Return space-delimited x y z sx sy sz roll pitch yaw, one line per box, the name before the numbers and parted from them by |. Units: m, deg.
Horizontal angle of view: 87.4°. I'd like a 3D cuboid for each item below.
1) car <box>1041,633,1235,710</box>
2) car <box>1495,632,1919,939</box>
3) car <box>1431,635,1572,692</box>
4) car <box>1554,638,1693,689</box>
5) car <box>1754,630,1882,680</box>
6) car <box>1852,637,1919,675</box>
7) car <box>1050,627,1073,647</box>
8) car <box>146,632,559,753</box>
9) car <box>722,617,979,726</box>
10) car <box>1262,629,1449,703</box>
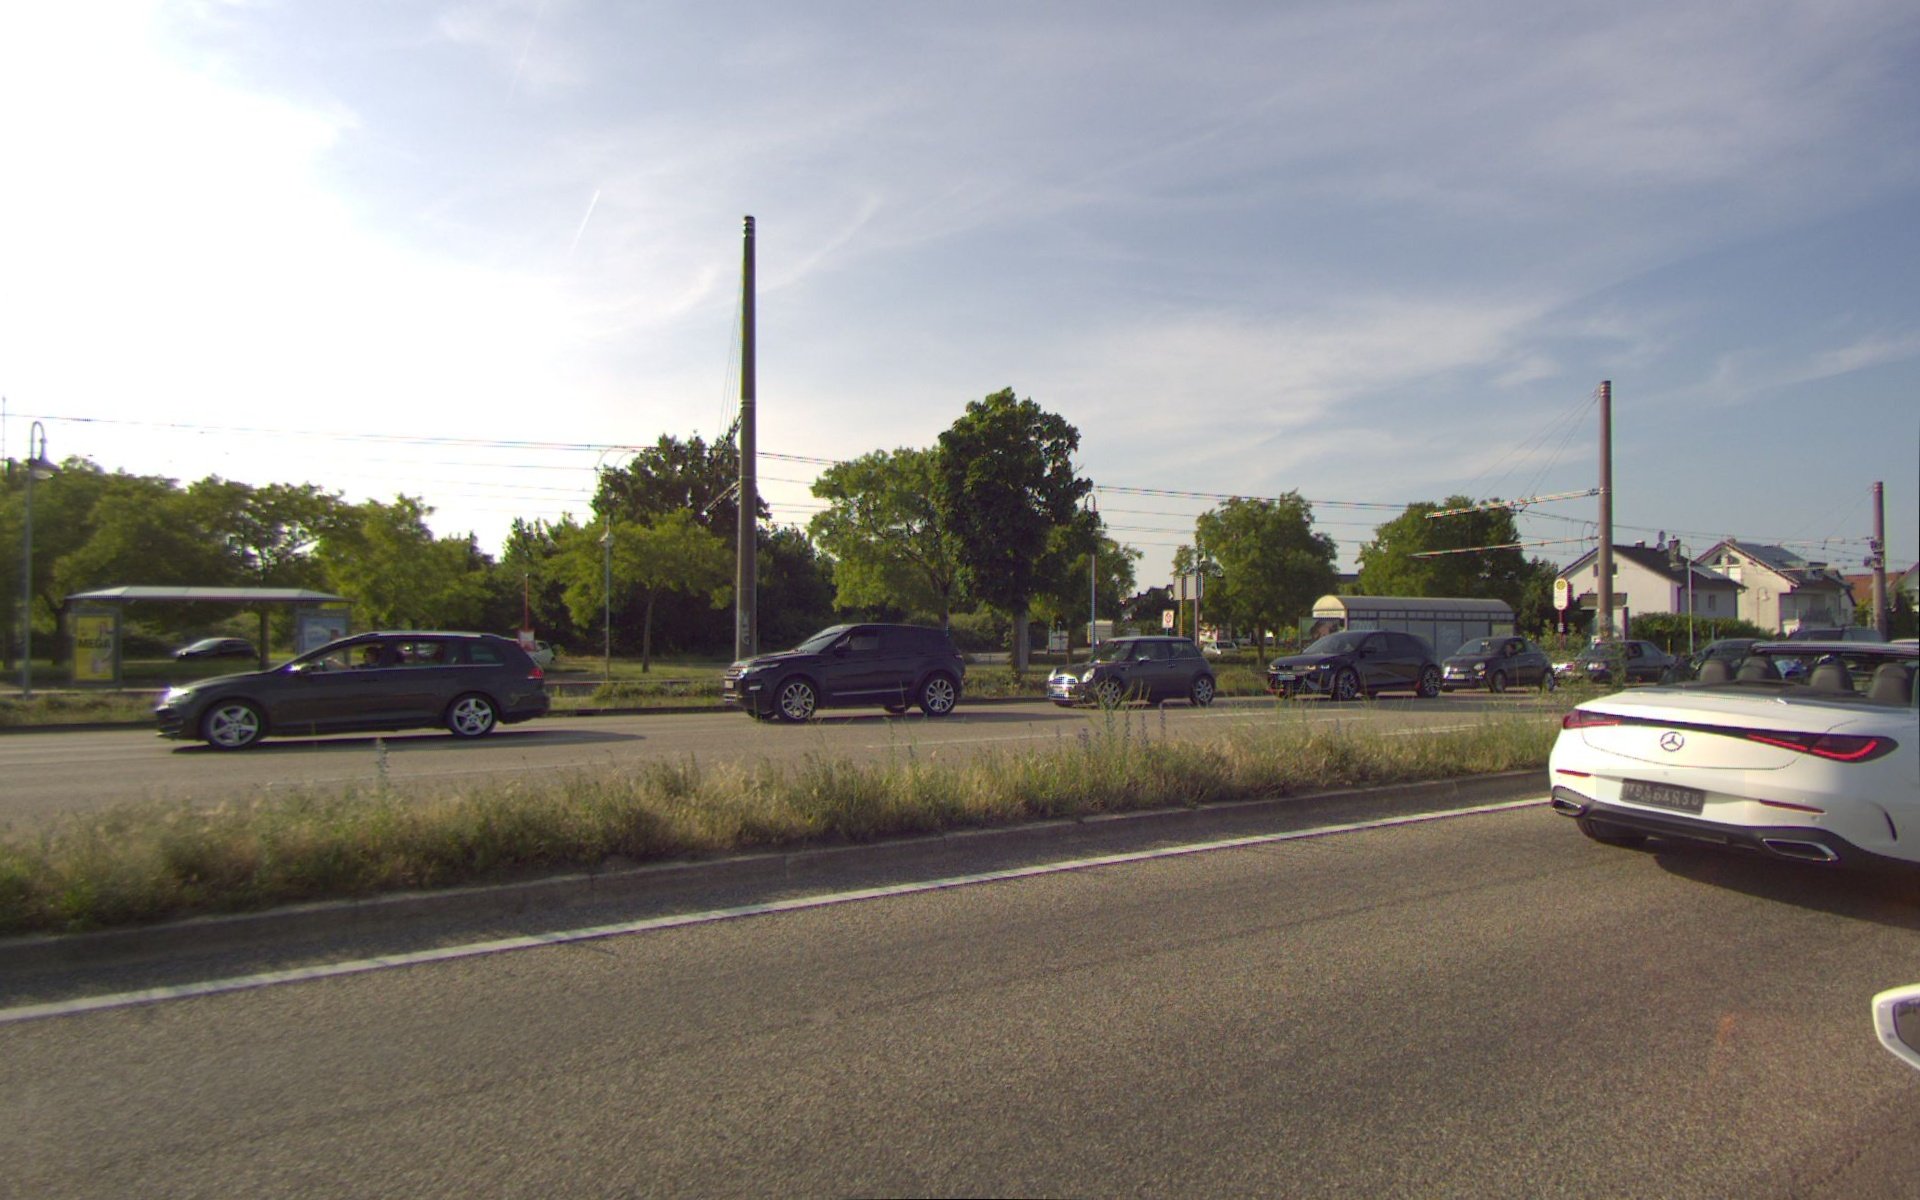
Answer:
car | 3.666 1.425 20.617 3.760 1.450 1.653 1 -3 -30
car | 5.857 0.938 6.646 4.891 1.355 1.763 1 0 -30
car | 14.714 1.702 27.264 3.760 1.450 1.653 1 -3 -30
car | 20.296 1.900 30.664 4.662 1.450 1.653 1 -3 -31
car | 31.312 1.984 36.621 5.192 1.705 1.906 1 -3 -30
car | 37.764 2.246 40.308 4.396 1.450 1.653 1 -3 -30
car | 7.831 2.854 77.307 1.700 1.384 3.626 -1 -4 7
car | -7.920 1.163 13.542 4.488 1.399 1.653 1 -3 -30
car | -1.874 1.202 17.569 4.179 1.709 1.653 1 -3 -30
car | 9.264 1.504 23.427 4.493 1.583 1.653 1 -3 -30
